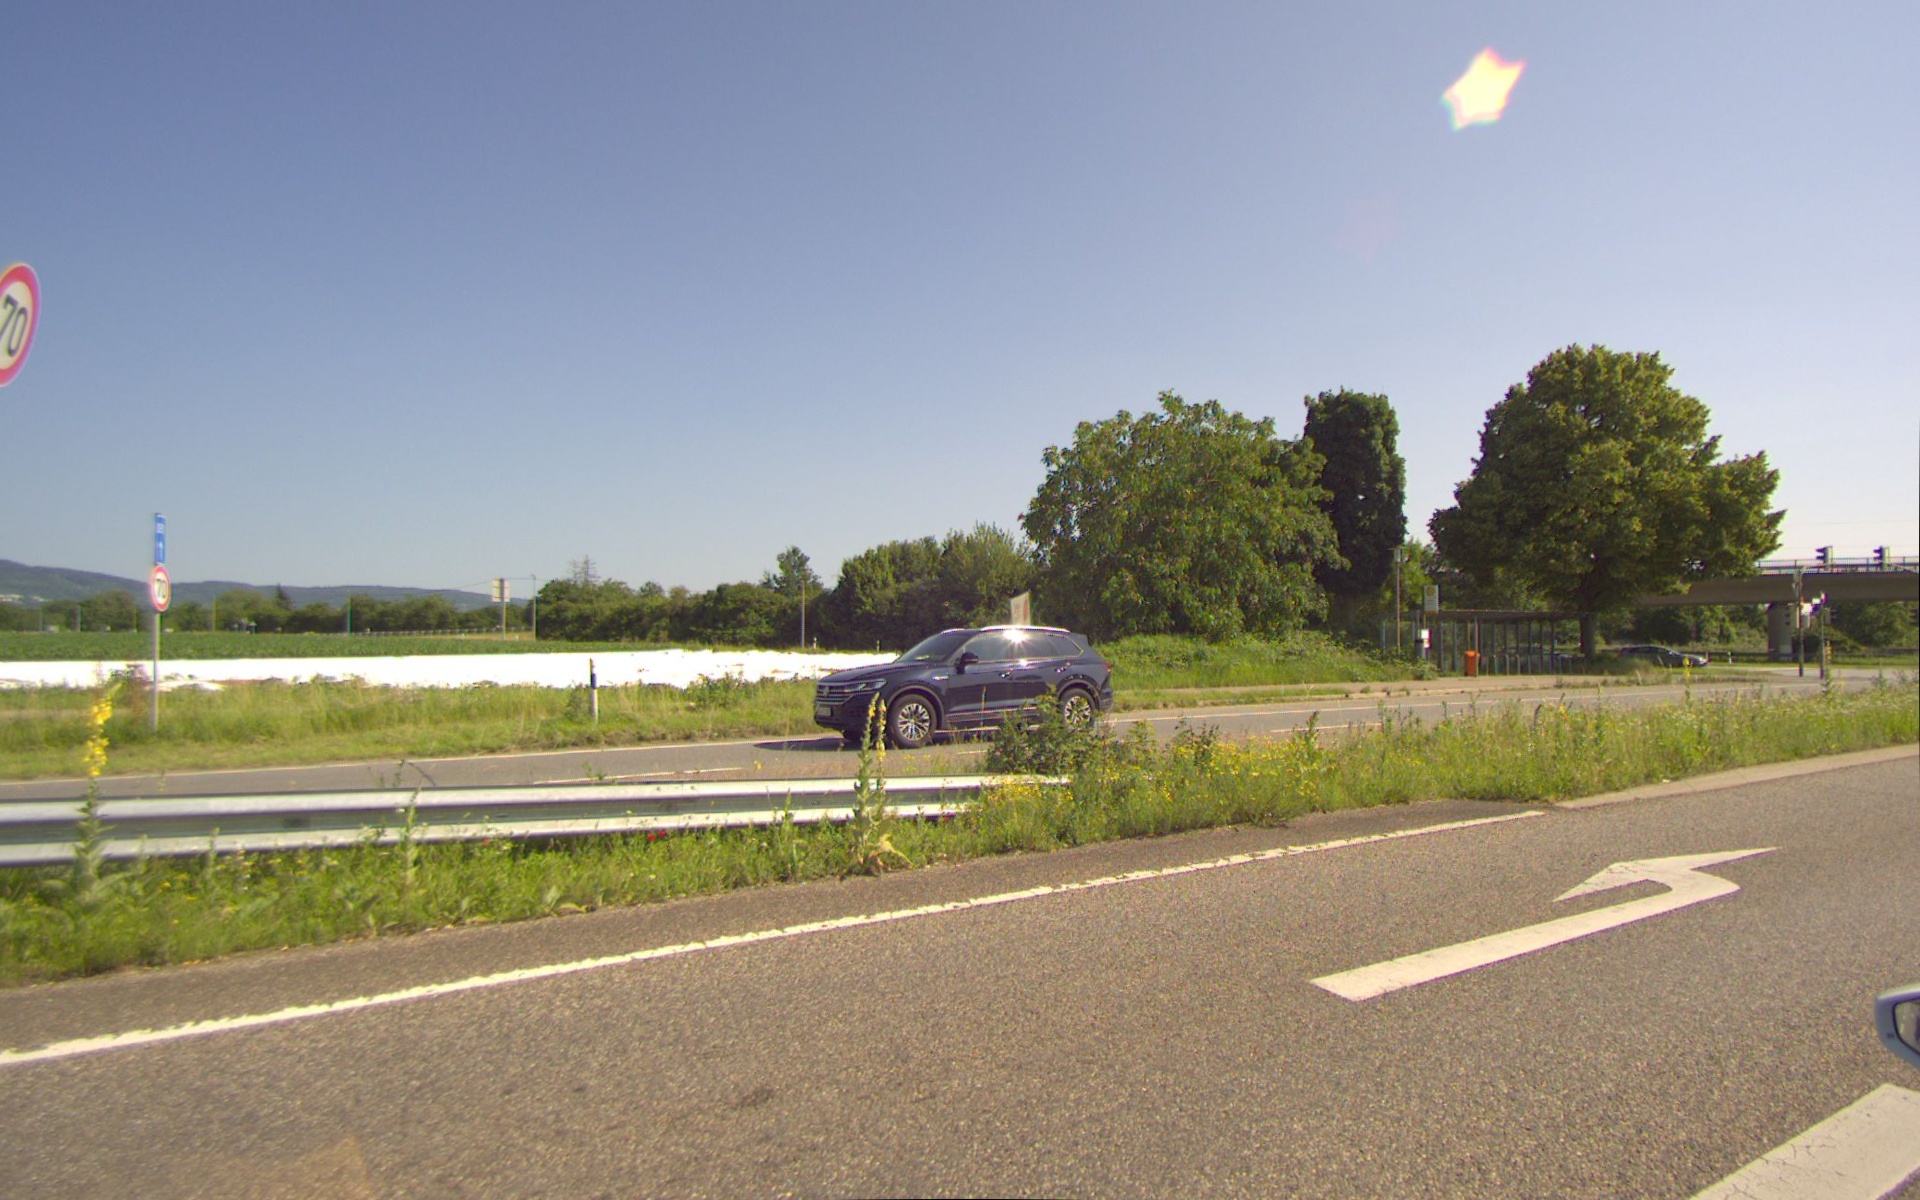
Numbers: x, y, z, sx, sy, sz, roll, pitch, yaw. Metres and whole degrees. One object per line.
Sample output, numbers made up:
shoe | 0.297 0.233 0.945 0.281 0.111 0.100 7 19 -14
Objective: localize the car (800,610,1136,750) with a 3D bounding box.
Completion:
car | 0.188 1.163 15.490 4.898 1.864 1.984 1 -4 -32

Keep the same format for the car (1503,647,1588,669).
car | 34.621 3.417 59.496 4.278 1.297 1.648 -1 -3 31

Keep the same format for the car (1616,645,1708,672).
car | 39.513 3.256 56.565 4.065 1.443 1.862 -2 -3 40
